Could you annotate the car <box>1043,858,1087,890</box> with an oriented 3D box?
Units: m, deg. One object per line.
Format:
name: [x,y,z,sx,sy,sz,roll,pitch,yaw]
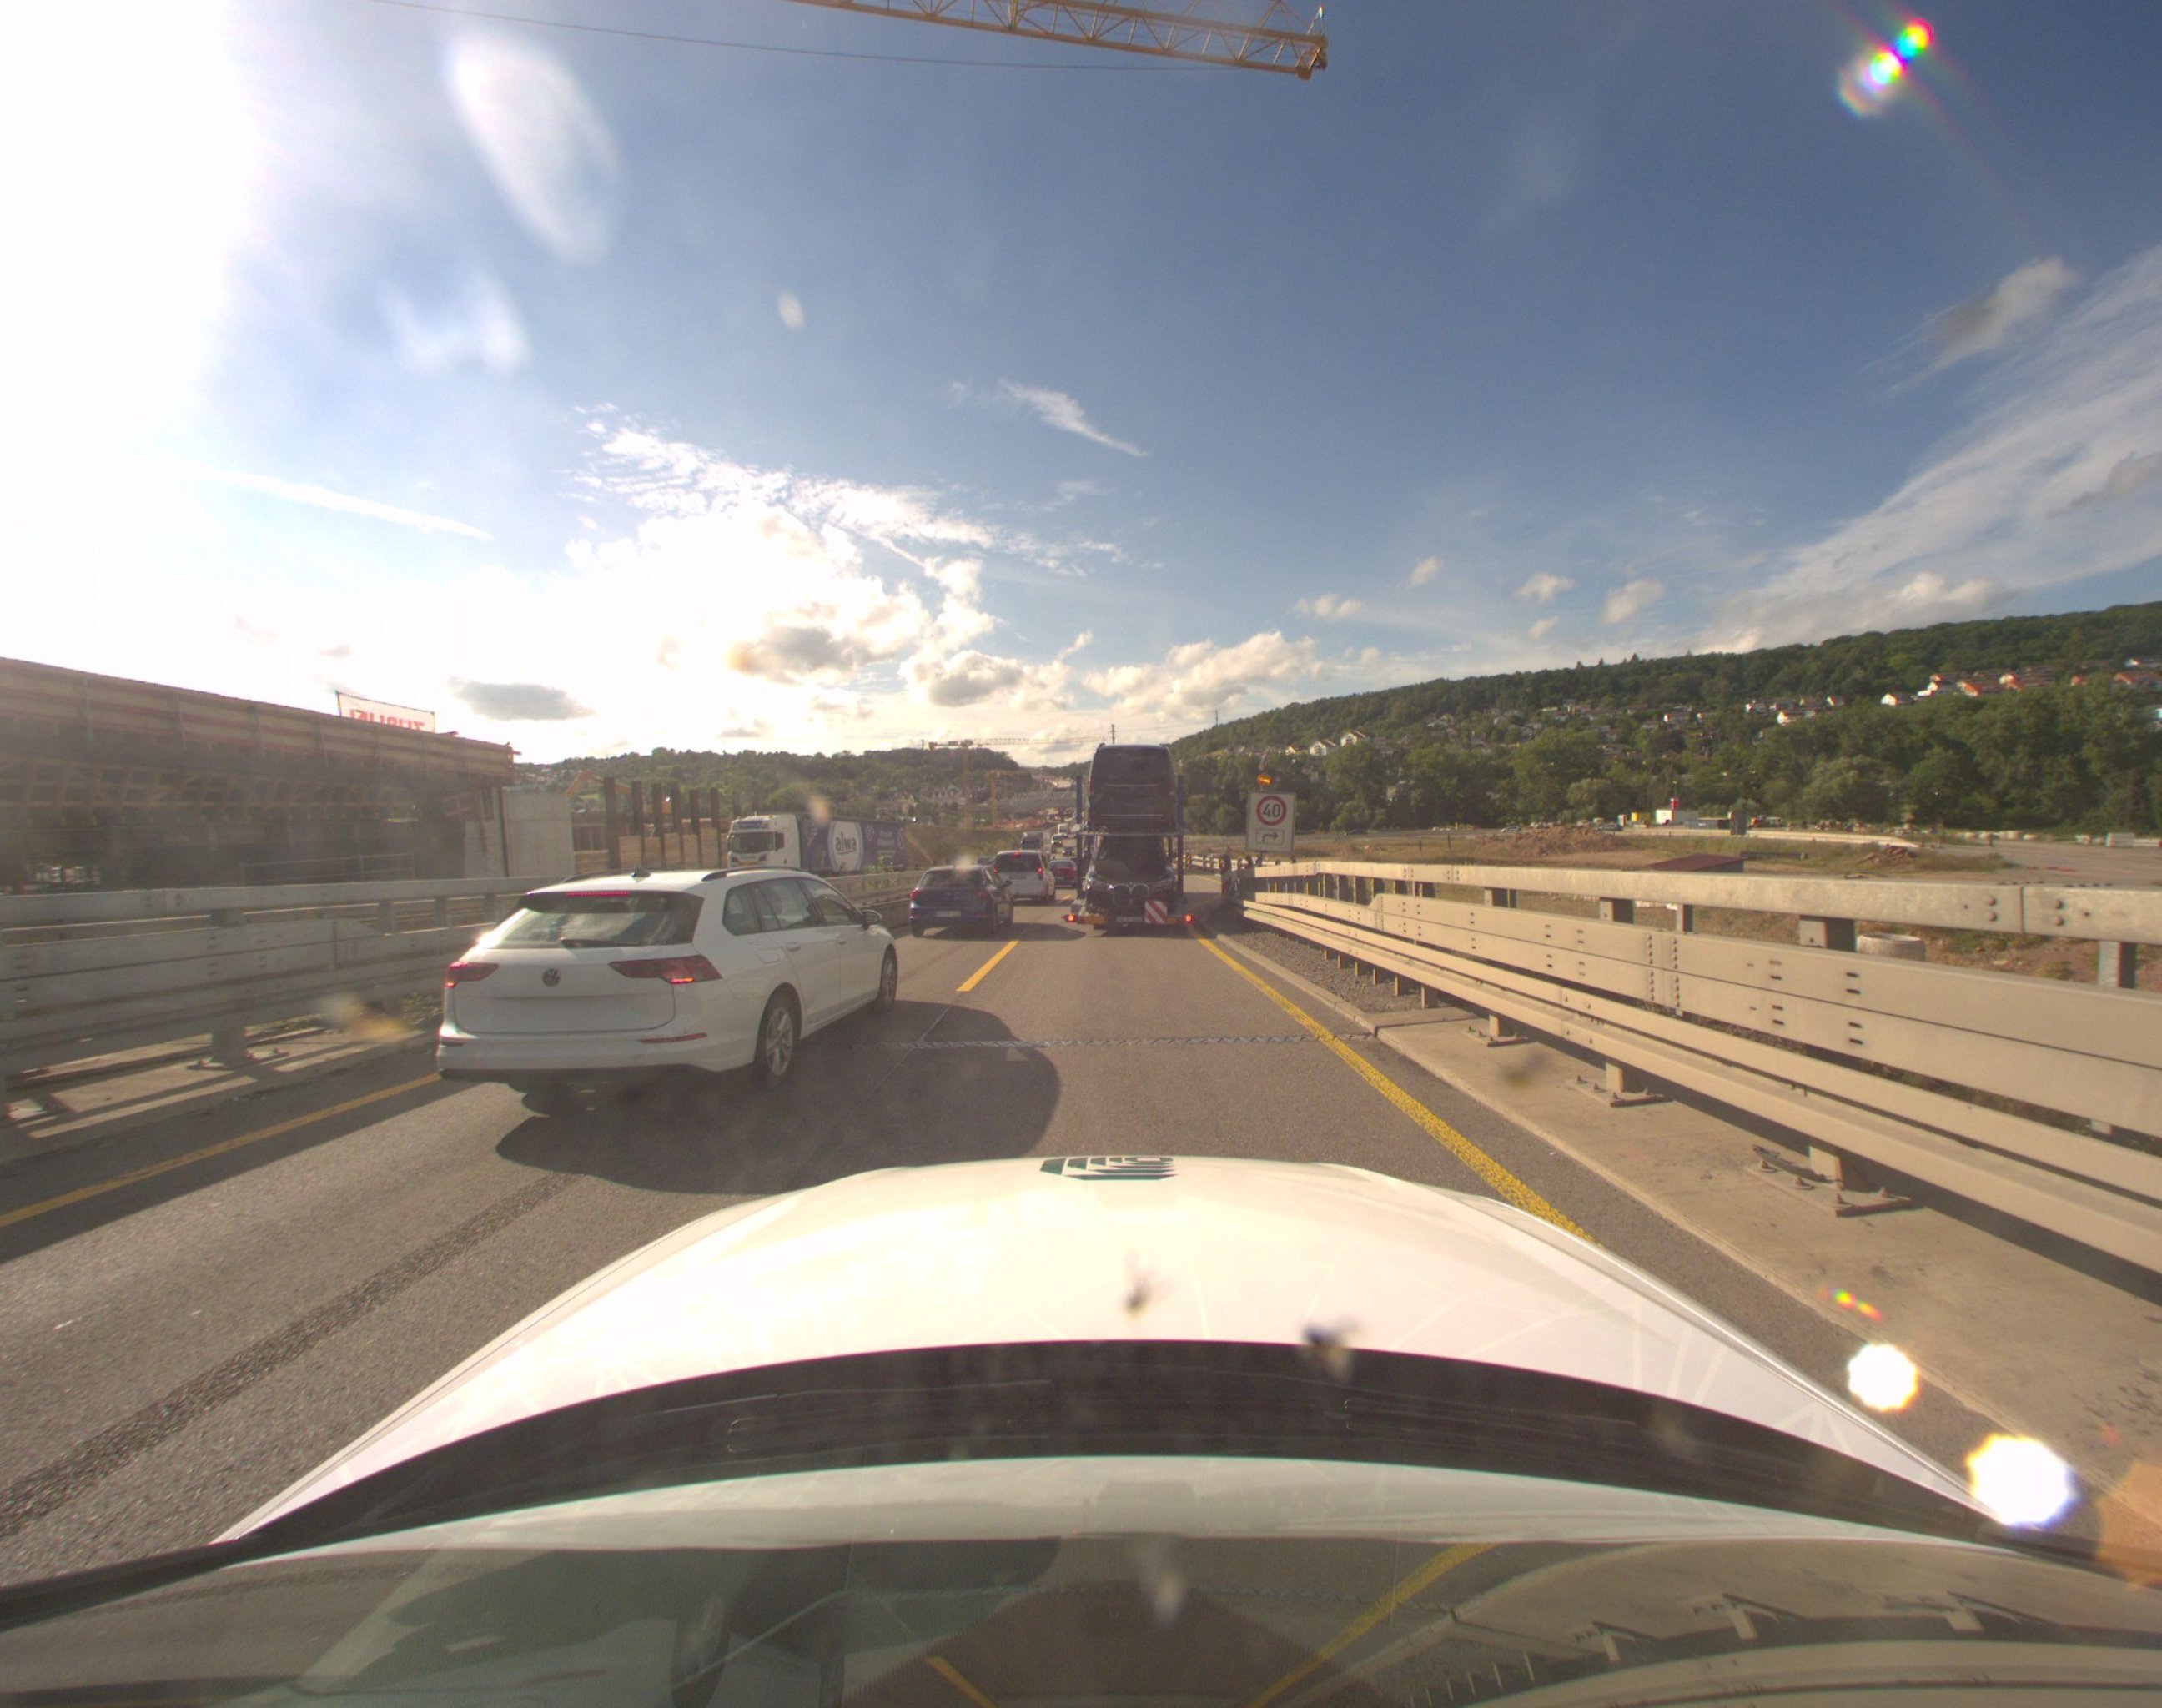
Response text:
car: [-0.803,1.040,42.811,1.985,1.556,4.404,-1,-1,3]

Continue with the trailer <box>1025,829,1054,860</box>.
trailer: [-5.464,-1.119,108.676,2.810,3.841,13.805,0,-1,1]

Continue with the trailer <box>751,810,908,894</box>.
trailer: [-14.090,-0.005,47.665,2.671,4.156,13.850,-1,-1,10]

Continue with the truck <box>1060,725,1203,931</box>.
truck: [1.178,-0.368,25.185,2.743,3.955,18.891,0,-1,1]

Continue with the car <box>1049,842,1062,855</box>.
car: [-4.925,-1.094,158.320,2.250,2.402,5.869,0,-1,1]

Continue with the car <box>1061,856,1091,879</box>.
car: [-0.343,0.964,57.351,1.987,1.552,3.999,0,-1,0]

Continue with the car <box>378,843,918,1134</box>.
car: [-2.780,0.772,6.610,1.763,1.491,4.519,-2,-1,3]

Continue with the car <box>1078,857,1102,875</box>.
car: [0.812,1.108,73.646,1.985,1.552,4.003,-1,-1,3]

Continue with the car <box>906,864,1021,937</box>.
car: [-2.433,0.938,17.822,1.715,1.422,4.003,0,-1,3]

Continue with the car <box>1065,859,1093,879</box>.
car: [-0.133,1.194,66.663,1.985,1.552,4.003,-1,-1,3]

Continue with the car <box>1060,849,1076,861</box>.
car: [-2.004,0.213,126.604,1.983,1.726,4.129,-1,-1,6]

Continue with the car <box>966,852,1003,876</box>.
car: [-7.474,0.773,63.513,1.913,1.767,4.335,-1,-1,7]

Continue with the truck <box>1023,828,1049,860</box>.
truck: [-5.619,-1.192,102.346,2.767,3.788,6.018,0,-1,1]

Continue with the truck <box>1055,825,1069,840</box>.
truck: [-4.446,-5.032,190.799,2.690,3.312,7.540,-1,-1,2]

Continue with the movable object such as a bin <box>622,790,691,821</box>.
movable object such as a bin: [-50.837,-5.791,97.668,5.706,3.270,4.526,-1,-1,13]

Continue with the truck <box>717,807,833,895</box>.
truck: [-15.292,-0.092,41.218,2.694,4.138,5.988,-1,-1,11]

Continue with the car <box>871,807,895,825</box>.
car: [-29.236,-5.613,120.361,1.987,2.140,5.322,-6,-1,1]

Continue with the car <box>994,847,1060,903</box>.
car: [-1.809,0.715,28.327,1.815,1.792,4.003,-1,-1,3]
